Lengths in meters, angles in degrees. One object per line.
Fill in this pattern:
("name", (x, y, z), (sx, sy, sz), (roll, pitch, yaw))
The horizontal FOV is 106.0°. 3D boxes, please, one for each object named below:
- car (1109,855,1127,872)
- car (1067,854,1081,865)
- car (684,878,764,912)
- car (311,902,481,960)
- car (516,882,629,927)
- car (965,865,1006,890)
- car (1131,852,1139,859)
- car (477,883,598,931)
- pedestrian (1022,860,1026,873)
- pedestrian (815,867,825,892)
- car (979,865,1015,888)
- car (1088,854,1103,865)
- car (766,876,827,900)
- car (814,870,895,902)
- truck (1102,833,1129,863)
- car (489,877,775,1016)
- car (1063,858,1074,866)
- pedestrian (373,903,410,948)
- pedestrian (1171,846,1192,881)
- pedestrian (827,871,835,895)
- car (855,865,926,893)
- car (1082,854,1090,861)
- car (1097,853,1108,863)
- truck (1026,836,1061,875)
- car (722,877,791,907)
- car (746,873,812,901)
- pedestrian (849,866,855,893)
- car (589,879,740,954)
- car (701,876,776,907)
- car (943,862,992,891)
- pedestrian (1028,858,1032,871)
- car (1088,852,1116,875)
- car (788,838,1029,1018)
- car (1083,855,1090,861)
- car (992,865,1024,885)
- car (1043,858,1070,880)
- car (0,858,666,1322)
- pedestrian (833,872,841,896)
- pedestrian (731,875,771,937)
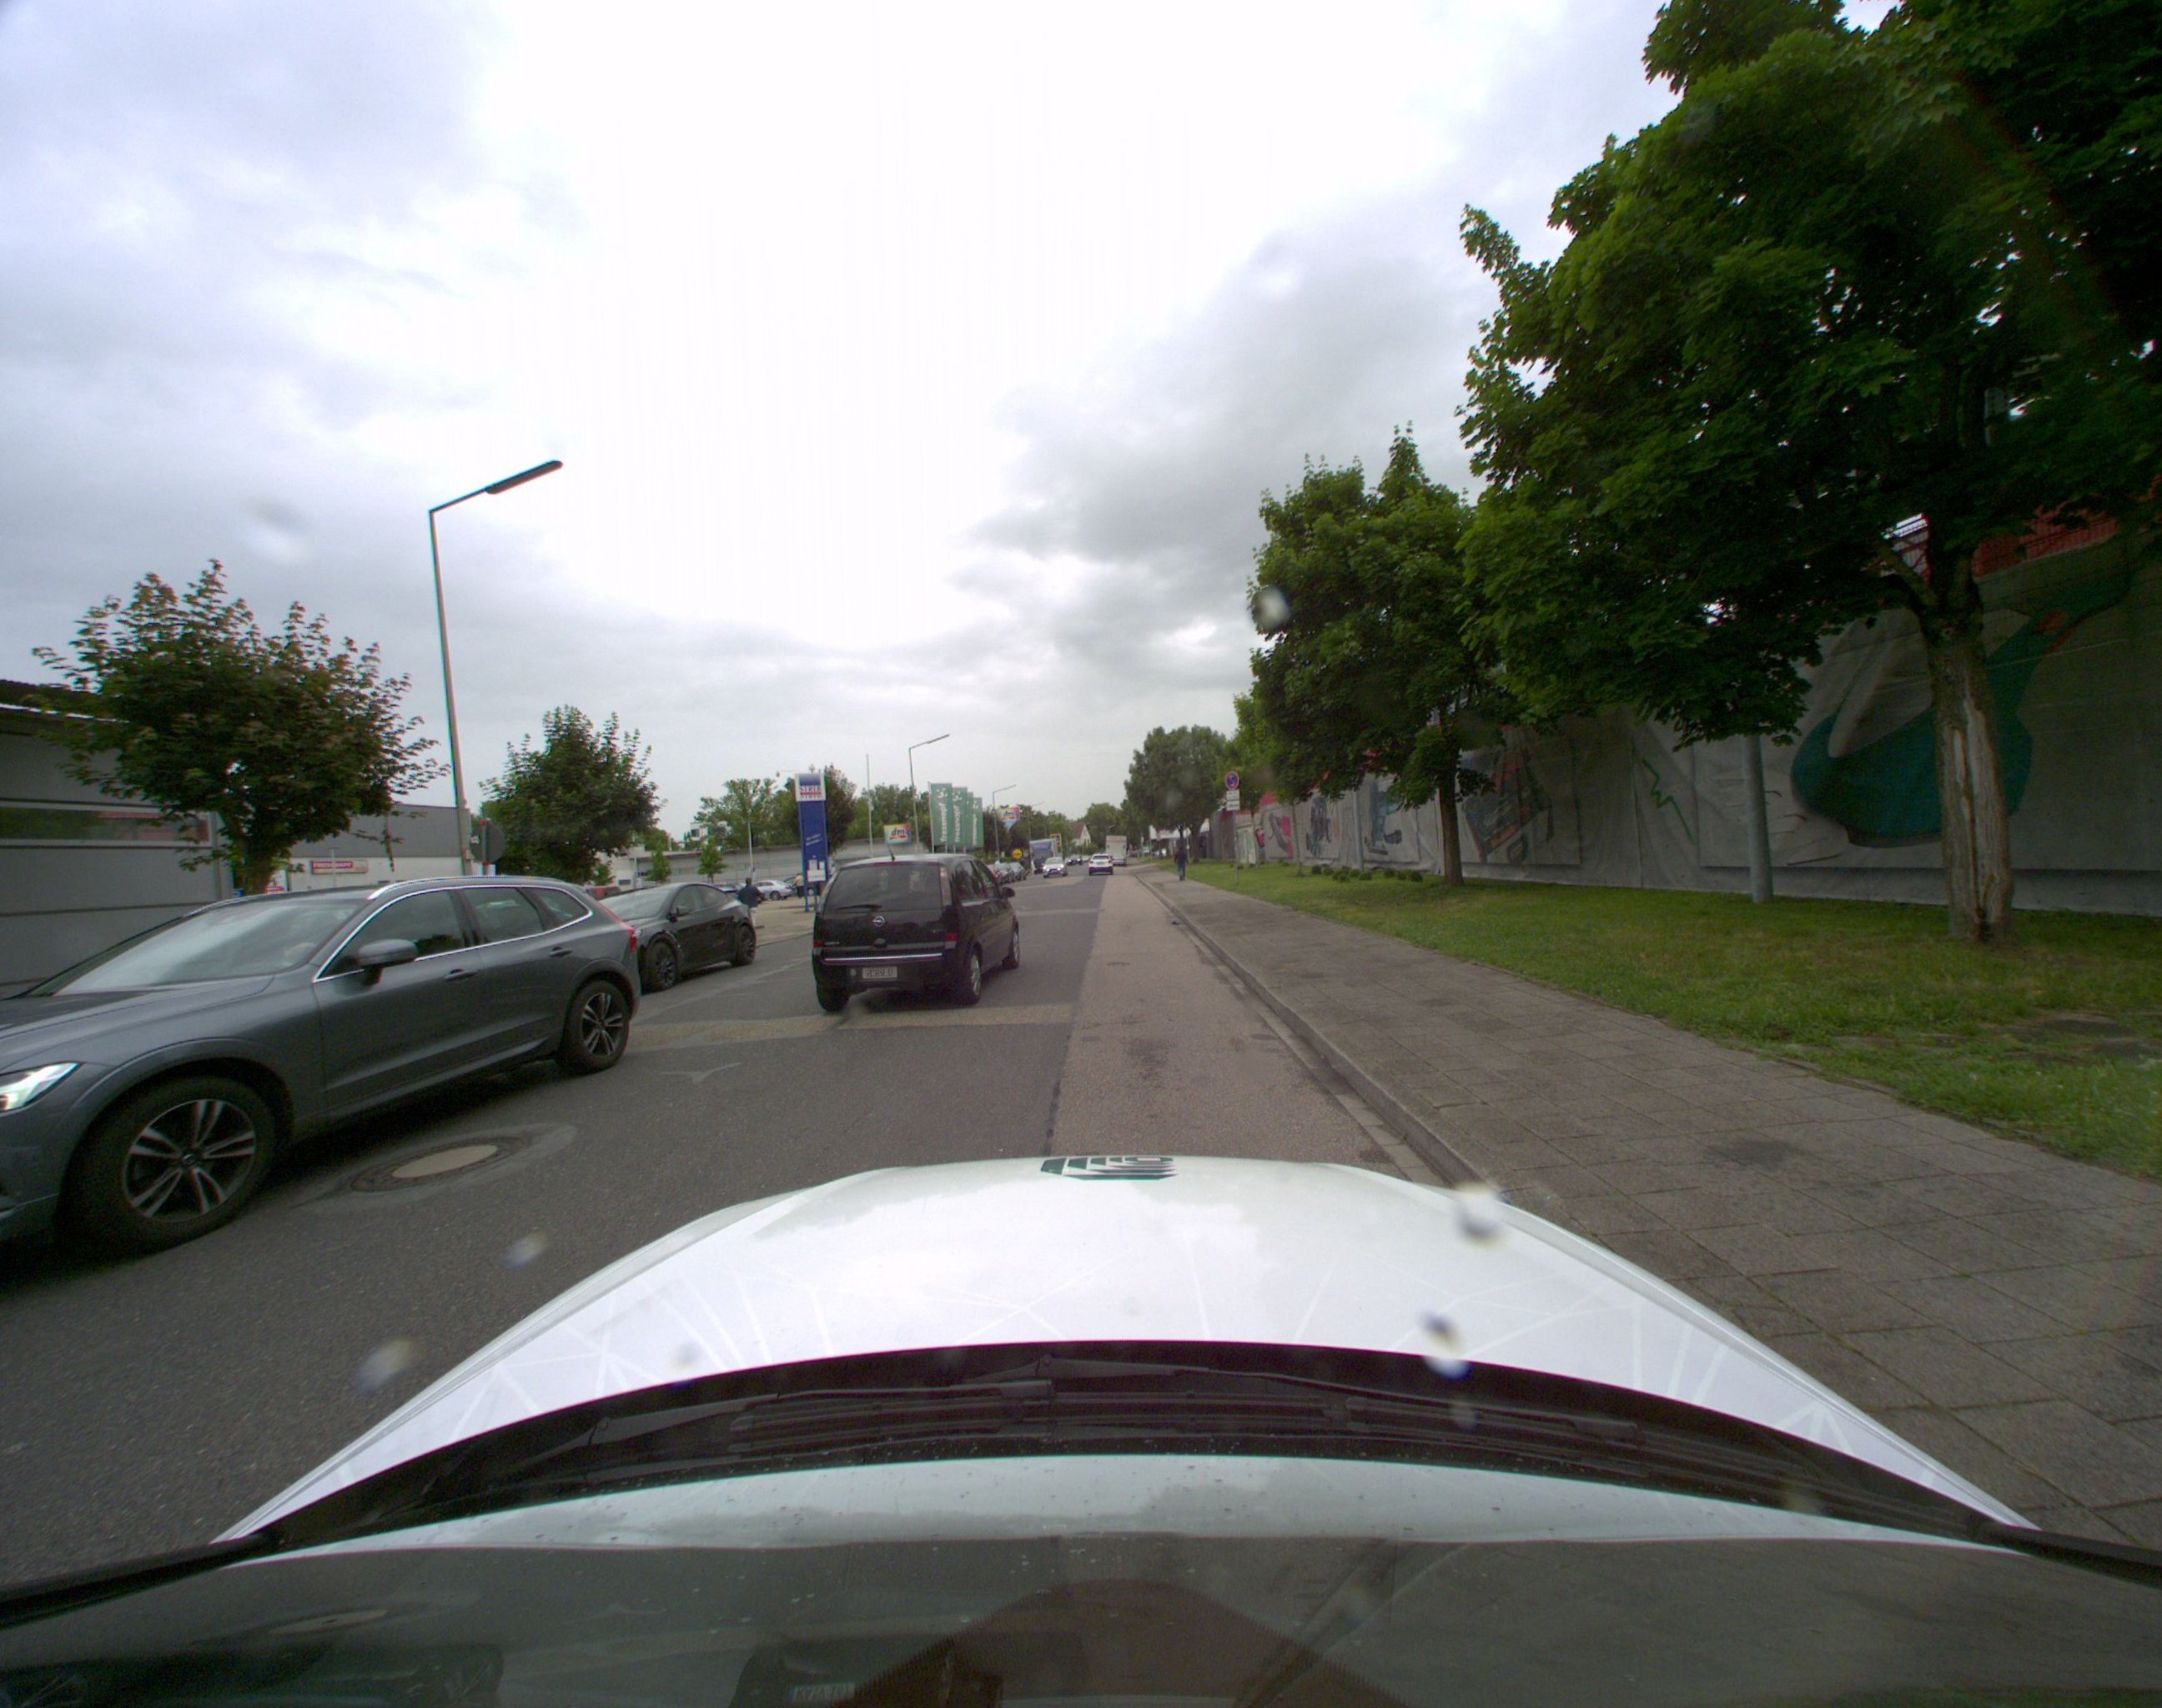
("car", (4.371, 1.106, 96.198), (1.986, 1.806, 4.001), (-3, -1, 1))
("car", (-1.052, 0.860, 127.548), (1.986, 1.684, 4.001), (-3, -1, 1))
("car", (-22.228, 2.541, 50.789), (3.972, 1.669, 1.877), (-5, 0, 2))
("car", (-23.480, 2.615, 28.117), (3.999, 1.485, 1.864), (-4, 0, -19))
("car", (-23.772, 2.344, 38.162), (3.972, 1.669, 1.877), (-5, 0, 2))
("car", (-6.095, 1.488, 52.166), (1.890, 1.367, 4.002), (-4, 0, 2))
("car", (13.337, 0.381, 200.126), (1.879, 1.683, 4.257), (-2, 0, 3))
("car", (-23.792, 2.312, 35.747), (3.972, 1.669, 1.877), (-5, 0, 2))
("pedestrian", (-6.895, 1.504, 98.817), (0.401, 1.531, 0.485), (-5, 0, -4))
("pedestrian", (-17.161, 1.665, 53.587), (0.456, 1.642, 0.372), (-4, 0, -16))
("car", (-5.903, 1.544, 57.658), (1.890, 1.367, 4.002), (-4, 0, 2))
("car", (2.126, 0.731, 116.457), (1.930, 1.367, 4.002), (-5, 0, 2))
("car", (-22.110, 2.641, 63.394), (3.971, 1.492, 1.787), (-4, 0, 2))
("car", (-13.266, 1.856, 47.897), (4.197, 1.463, 1.949), (-4, 0, -6))
("truck", (4.373, -0.671, 105.394), (3.124, 3.585, 10.052), (-3, -1, 1))
("car", (-6.971, 1.325, 13.333), (1.940, 1.526, 4.404), (-9, 0, 1))
("car", (-2.123, 1.354, 140.302), (1.617, 1.375, 3.453), (-3, -1, 1))
("pedestrian", (-27.438, 2.842, 32.422), (0.797, 1.715, 0.696), (-3, 0, -2))
("pedestrian", (4.794, 0.460, 38.909), (0.915, 1.635, 0.853), (-3, -1, 4))
("pedestrian", (-16.520, 1.926, 53.807), (0.359, 1.570, 0.502), (-4, 0, -11))
("car", (-12.376, 1.622, 53.075), (4.127, 1.463, 1.896), (-5, 0, -4))
("car", (1.099, 0.800, 173.825), (1.535, 1.365, 3.430), (-3, -1, 2))
("car", (3.942, 0.796, 151.110), (1.863, 1.662, 4.000), (-4, 0, 1))
("truck", (-4.149, 0.195, 91.128), (2.962, 3.955, 6.409), (-6, 0, 3))
("car", (-22.689, 2.627, 57.041), (3.972, 1.669, 1.877), (-5, 0, 2))
("car", (-21.952, 2.406, 59.345), (3.972, 1.669, 1.877), (-5, 0, 2))
("pedestrian", (-15.168, 1.682, 53.916), (0.262, 1.729, 0.421), (-4, 0, -10))
("car", (-13.629, 2.021, 26.850), (3.923, 2.013, 1.758), (-5, 0, -5))
("car", (-22.432, 2.450, 53.376), (3.972, 1.669, 1.877), (-5, 0, 2))
("car", (-6.264, 1.226, 45.301), (1.890, 1.367, 4.002), (-4, 0, 2))
("pedestrian", (-6.360, 1.310, 101.152), (0.401, 1.531, 0.485), (-5, 0, -4))
("car", (1.570, 0.690, 60.315), (1.879, 1.531, 4.257), (-2, 0, 3))
("car", (-1.811, 0.721, 9.796), (1.673, 1.632, 3.764), (-5, 0, 5))
("car", (1.210, 0.869, 180.079), (1.544, 1.364, 3.500), (-3, -1, 2))
("car", (-5.634, 1.600, 63.556), (1.890, 1.367, 4.002), (-4, 0, 2))
("car", (-1.854, 1.142, 62.705), (1.592, 1.528, 3.530), (-6, -1, 3))
("car", (-4.891, 0.964, 5.157), (1.926, 1.683, 4.498), (-6, 0, 2))
("pedestrian", (-16.013, 1.973, 53.446), (0.330, 1.570, 0.502), (-3, 0, -12))
("pedestrian", (-9.527, 1.491, 23.523), (0.773, 1.715, 0.696), (-4, 0, -2))
